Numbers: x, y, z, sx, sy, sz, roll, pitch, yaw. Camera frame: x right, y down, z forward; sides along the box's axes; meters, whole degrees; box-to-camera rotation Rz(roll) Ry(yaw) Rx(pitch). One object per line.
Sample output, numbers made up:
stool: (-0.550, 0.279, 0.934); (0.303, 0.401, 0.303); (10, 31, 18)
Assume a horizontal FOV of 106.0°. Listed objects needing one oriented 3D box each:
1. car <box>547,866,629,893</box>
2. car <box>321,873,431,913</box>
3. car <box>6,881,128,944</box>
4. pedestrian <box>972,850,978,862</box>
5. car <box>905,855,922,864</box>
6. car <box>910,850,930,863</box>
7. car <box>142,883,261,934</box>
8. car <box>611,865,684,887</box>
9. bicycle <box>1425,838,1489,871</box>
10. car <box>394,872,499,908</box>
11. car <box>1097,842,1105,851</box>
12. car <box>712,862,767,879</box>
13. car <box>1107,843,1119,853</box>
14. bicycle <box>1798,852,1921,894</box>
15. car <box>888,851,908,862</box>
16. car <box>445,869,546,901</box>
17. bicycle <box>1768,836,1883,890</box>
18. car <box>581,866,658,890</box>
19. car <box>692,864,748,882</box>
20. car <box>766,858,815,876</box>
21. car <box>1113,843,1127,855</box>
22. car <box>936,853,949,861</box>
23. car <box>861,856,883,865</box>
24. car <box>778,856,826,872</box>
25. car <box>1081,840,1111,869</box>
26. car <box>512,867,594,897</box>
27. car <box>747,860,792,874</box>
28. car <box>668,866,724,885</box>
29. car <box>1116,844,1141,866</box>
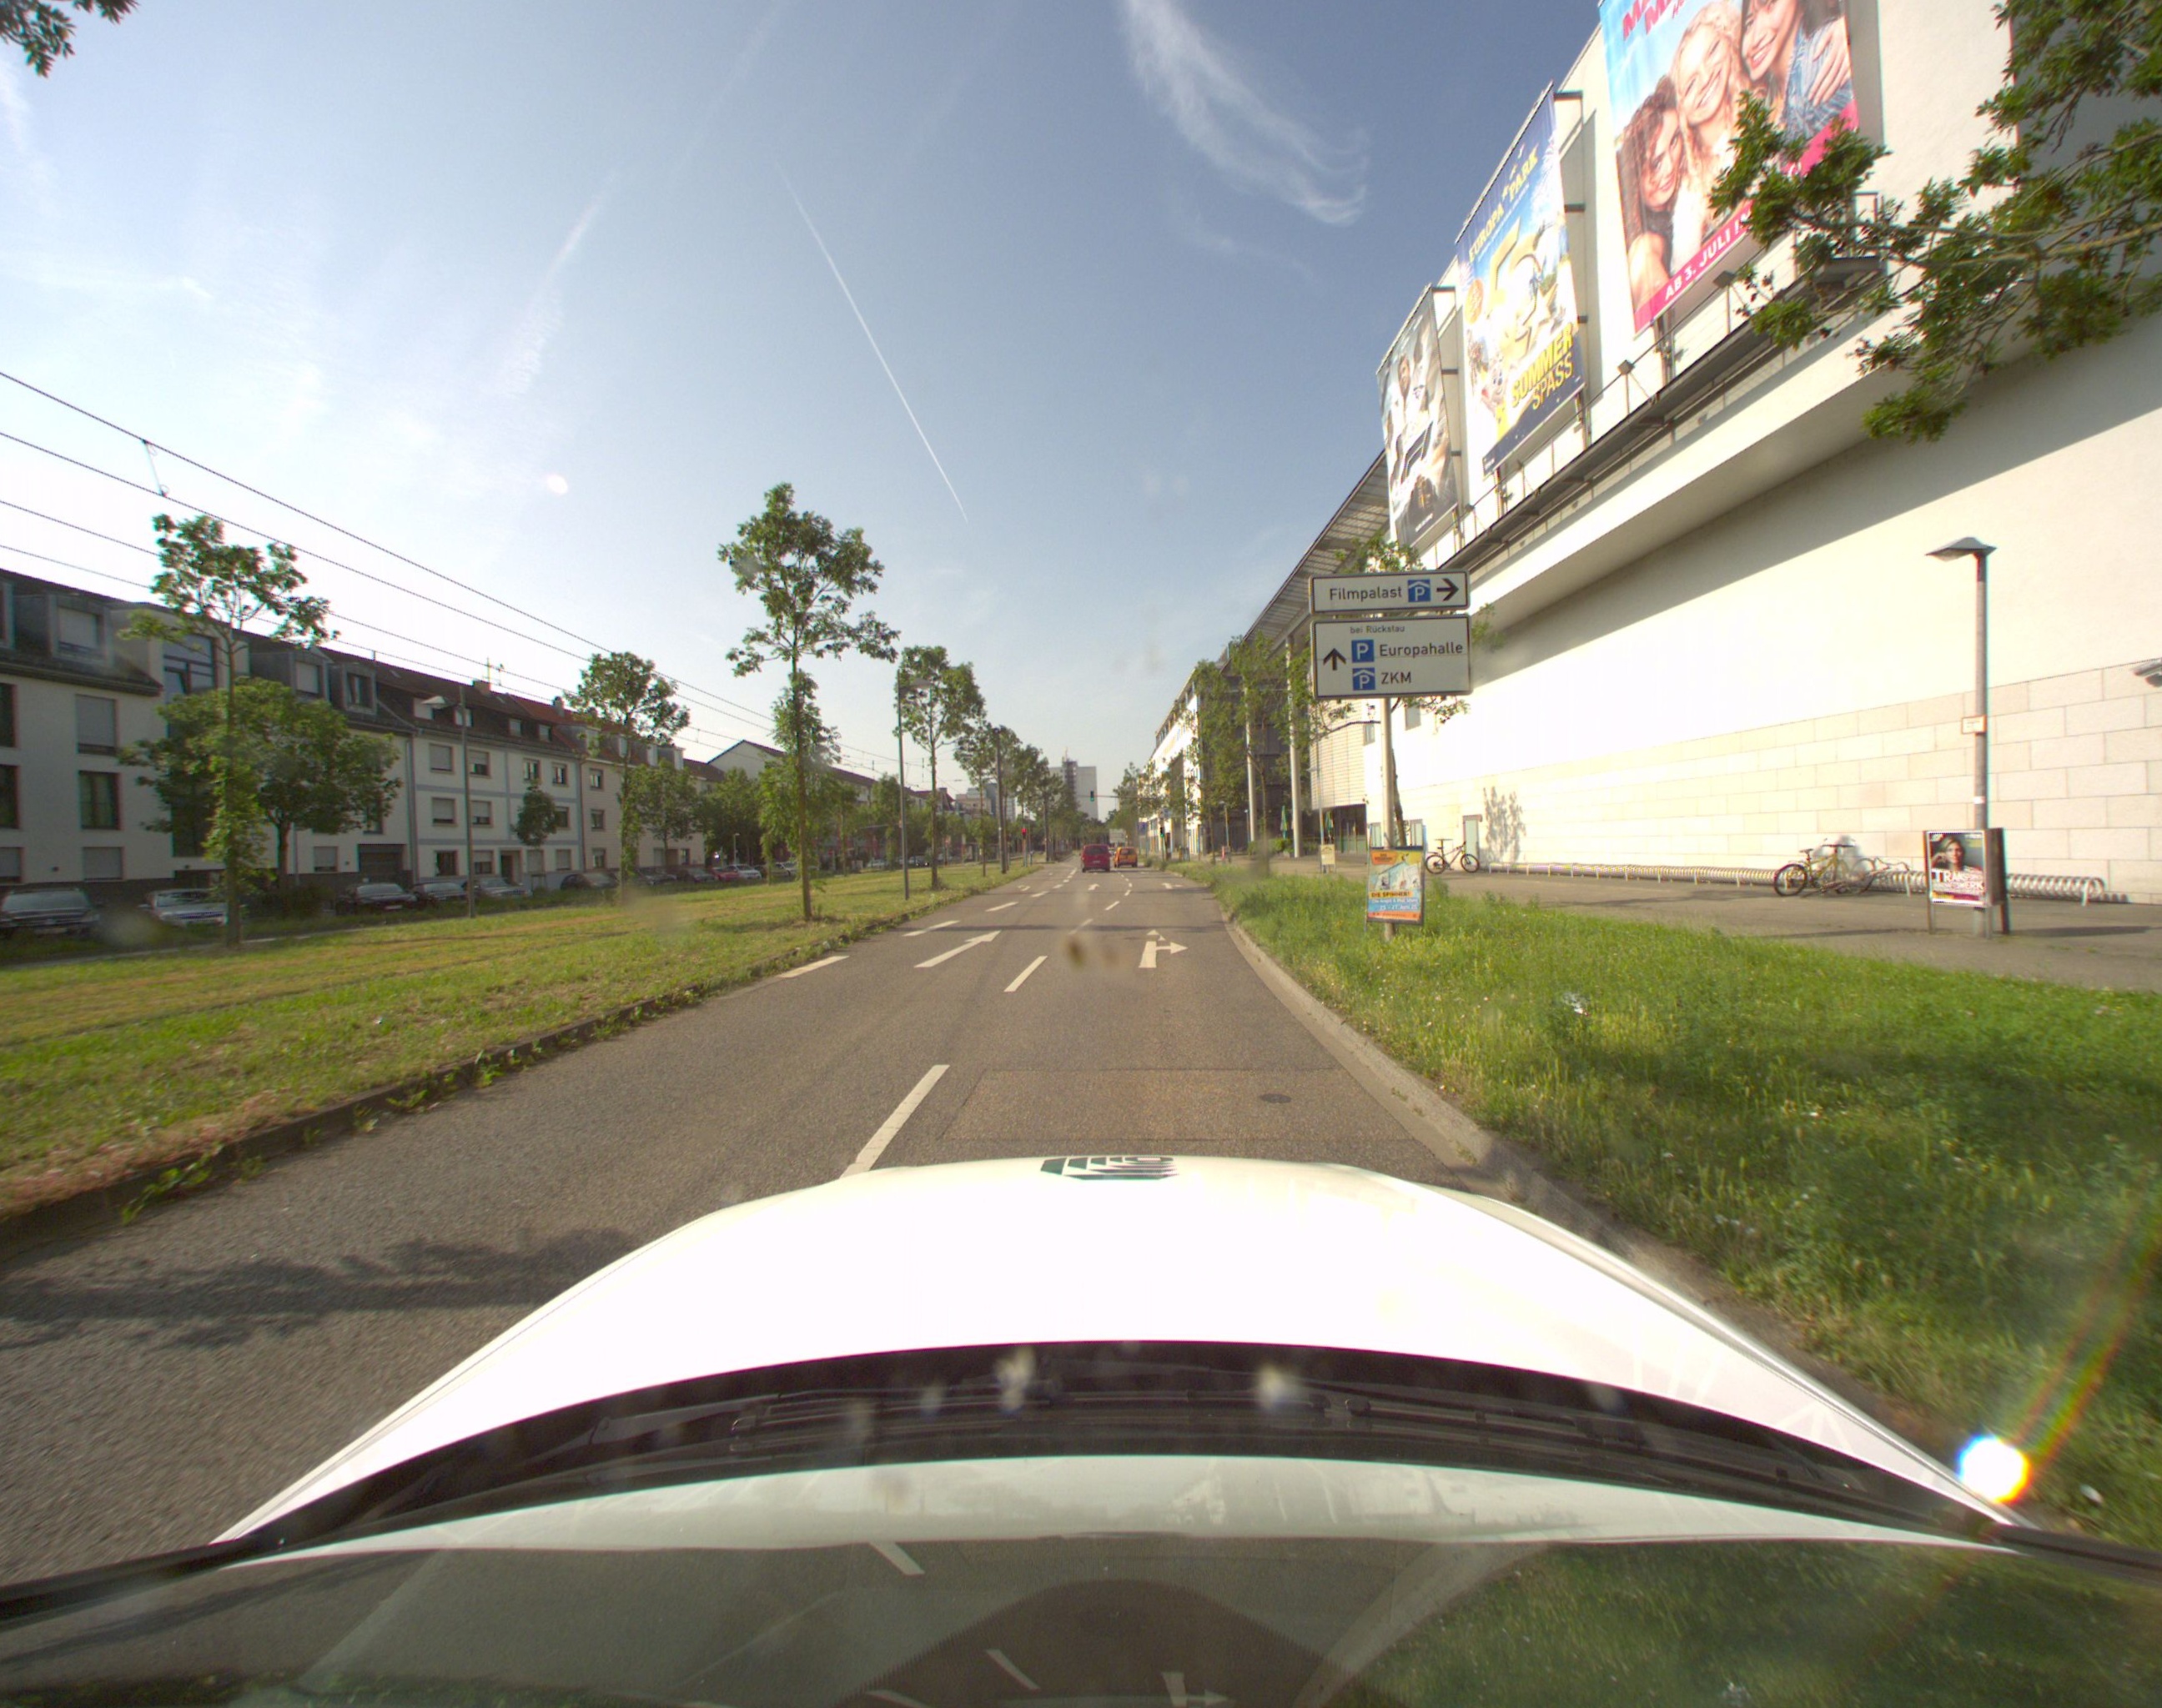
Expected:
car: (-27.096, 1.385, 44.757); (3.950, 1.288, 2.012); (-2, 1, 26)
car: (-27.485, 1.525, 31.737); (3.949, 1.376, 1.847); (-2, 0, 27)
car: (-26.888, 1.479, 21.568); (3.673, 1.434, 1.652); (-1, 1, 33)
pedestrian: (-14.938, 0.249, 114.721); (0.670, 1.653, 0.793); (-3, 0, -4)
car: (-27.804, 0.888, 135.368); (1.974, 1.360, 4.069); (-1, 0, 0)
car: (-24.226, 0.365, 122.565); (1.986, 1.706, 4.715); (-2, 0, 1)
car: (-26.842, 1.598, 24.820); (4.343, 1.320, 1.745); (-1, 1, 33)
car: (-26.581, 1.330, 49.931); (4.008, 1.288, 2.012); (-1, 0, 28)
bicycle: (13.666, 0.006, 29.642); (1.999, 1.102, 0.676); (-2, 0, 5)
car: (-26.482, 1.463, 33.975); (3.950, 1.376, 1.939); (-1, 0, 27)
car: (4.896, -1.797, 198.967); (1.987, 2.013, 4.001); (-2, 0, 1)
car: (-26.541, 1.277, 63.307); (3.949, 1.269, 1.898); (-1, 0, 30)
car: (5.284, -0.990, 135.181); (1.683, 1.526, 3.851); (-4, 1, 1)
bicycle: (13.770, 0.328, 14.429); (1.651, 0.645, 0.538); (-3, 1, 1)
car: (-28.146, 0.410, 125.553); (1.974, 1.556, 4.537); (-1, 0, 0)
car: (-27.128, 1.401, 37.736); (4.286, 1.376, 2.012); (-1, 0, 26)
bicycle: (13.751, 0.161, 15.061); (1.651, 0.915, 0.483); (-3, 1, 1)
car: (-26.922, 1.388, 47.521); (3.950, 1.288, 2.012); (-1, 0, 26)
car: (-26.786, 1.386, 60.383); (3.948, 1.258, 1.888); (-1, 0, 33)
car: (-26.111, 1.150, 73.194); (4.407, 1.514, 2.013); (0, 1, 37)
car: (5.174, -0.728, 108.560); (1.715, 1.519, 3.780); (-2, 0, 0)
car: (-27.496, 0.652, 161.762); (1.974, 1.513, 4.280); (-1, 0, 0)
car: (-28.083, 0.843, 109.687); (1.827, 1.147, 4.164); (-1, 0, 0)
car: (-26.330, 0.959, 76.830); (4.297, 1.463, 1.976); (-1, 0, 34)
car: (0.980, 0.003, 55.130); (1.869, 1.853, 3.999); (-2, 1, -1)
car: (-26.016, 1.364, 40.114); (3.733, 1.376, 1.674); (-1, 0, 26)
car: (-26.977, 1.125, 70.486); (3.949, 1.178, 2.012); (0, 1, 41)
car: (-26.875, 1.457, 56.767); (3.948, 1.235, 1.710); (-1, 0, 34)
car: (3.885, 0.050, 67.392); (1.869, 1.696, 3.975); (-2, 1, 1)
